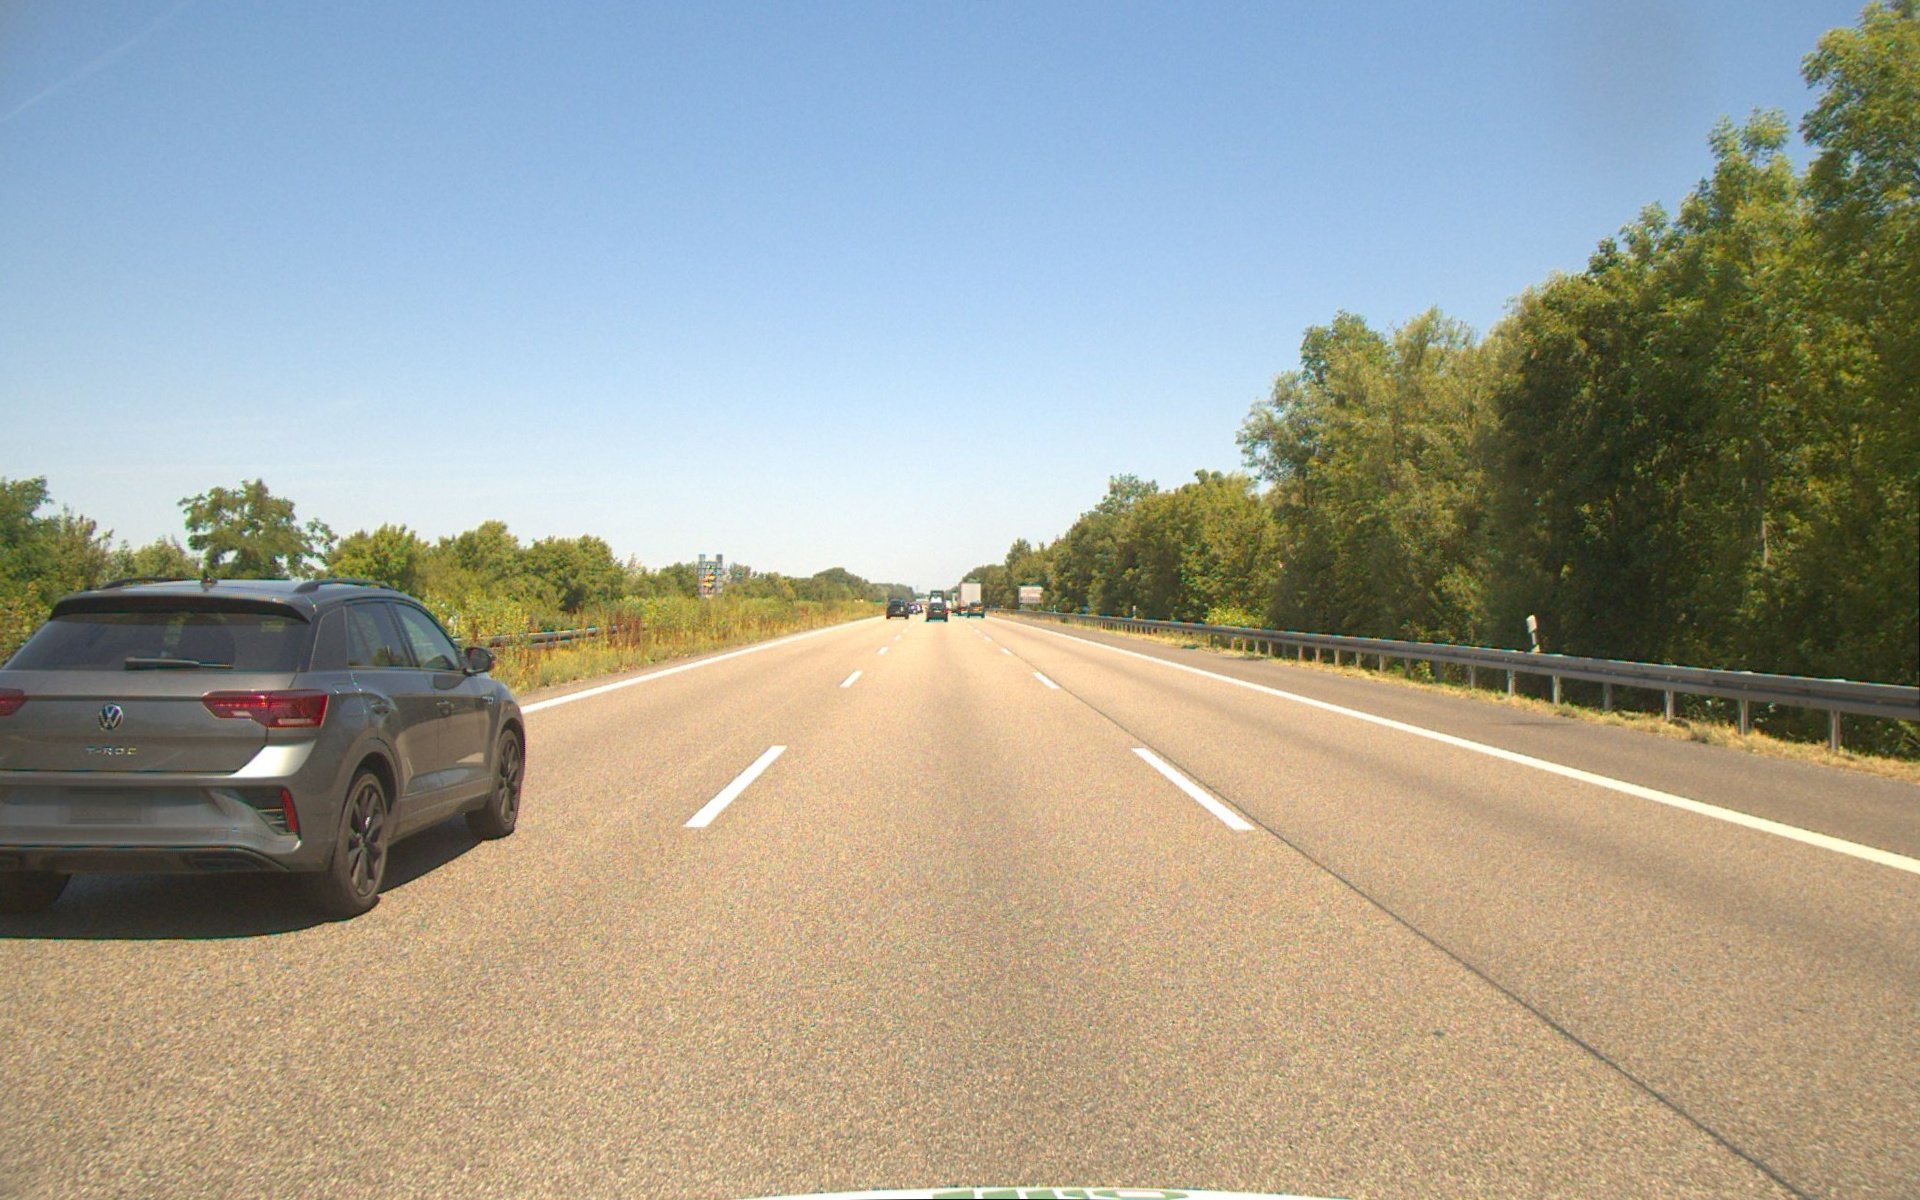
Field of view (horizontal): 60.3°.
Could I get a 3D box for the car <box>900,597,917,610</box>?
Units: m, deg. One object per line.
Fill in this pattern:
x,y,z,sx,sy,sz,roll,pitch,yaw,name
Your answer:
-6.632,0.484,213.748,2.085,1.674,4.304,-1,0,0,car

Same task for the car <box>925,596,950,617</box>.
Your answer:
-1.726,0.487,128.033,1.864,1.611,4.304,-1,0,0,car

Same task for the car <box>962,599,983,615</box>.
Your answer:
1.279,0.767,172.888,2.085,1.611,4.304,-1,0,0,car

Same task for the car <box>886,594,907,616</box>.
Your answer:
-5.603,0.451,145.430,1.842,1.823,3.999,0,1,-2,car

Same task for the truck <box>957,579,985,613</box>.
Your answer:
1.296,-0.538,203.749,3.316,4.040,9.536,-1,0,0,truck

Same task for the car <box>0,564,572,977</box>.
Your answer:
-3.606,0.636,9.195,1.842,1.668,5.008,0,1,-2,car
